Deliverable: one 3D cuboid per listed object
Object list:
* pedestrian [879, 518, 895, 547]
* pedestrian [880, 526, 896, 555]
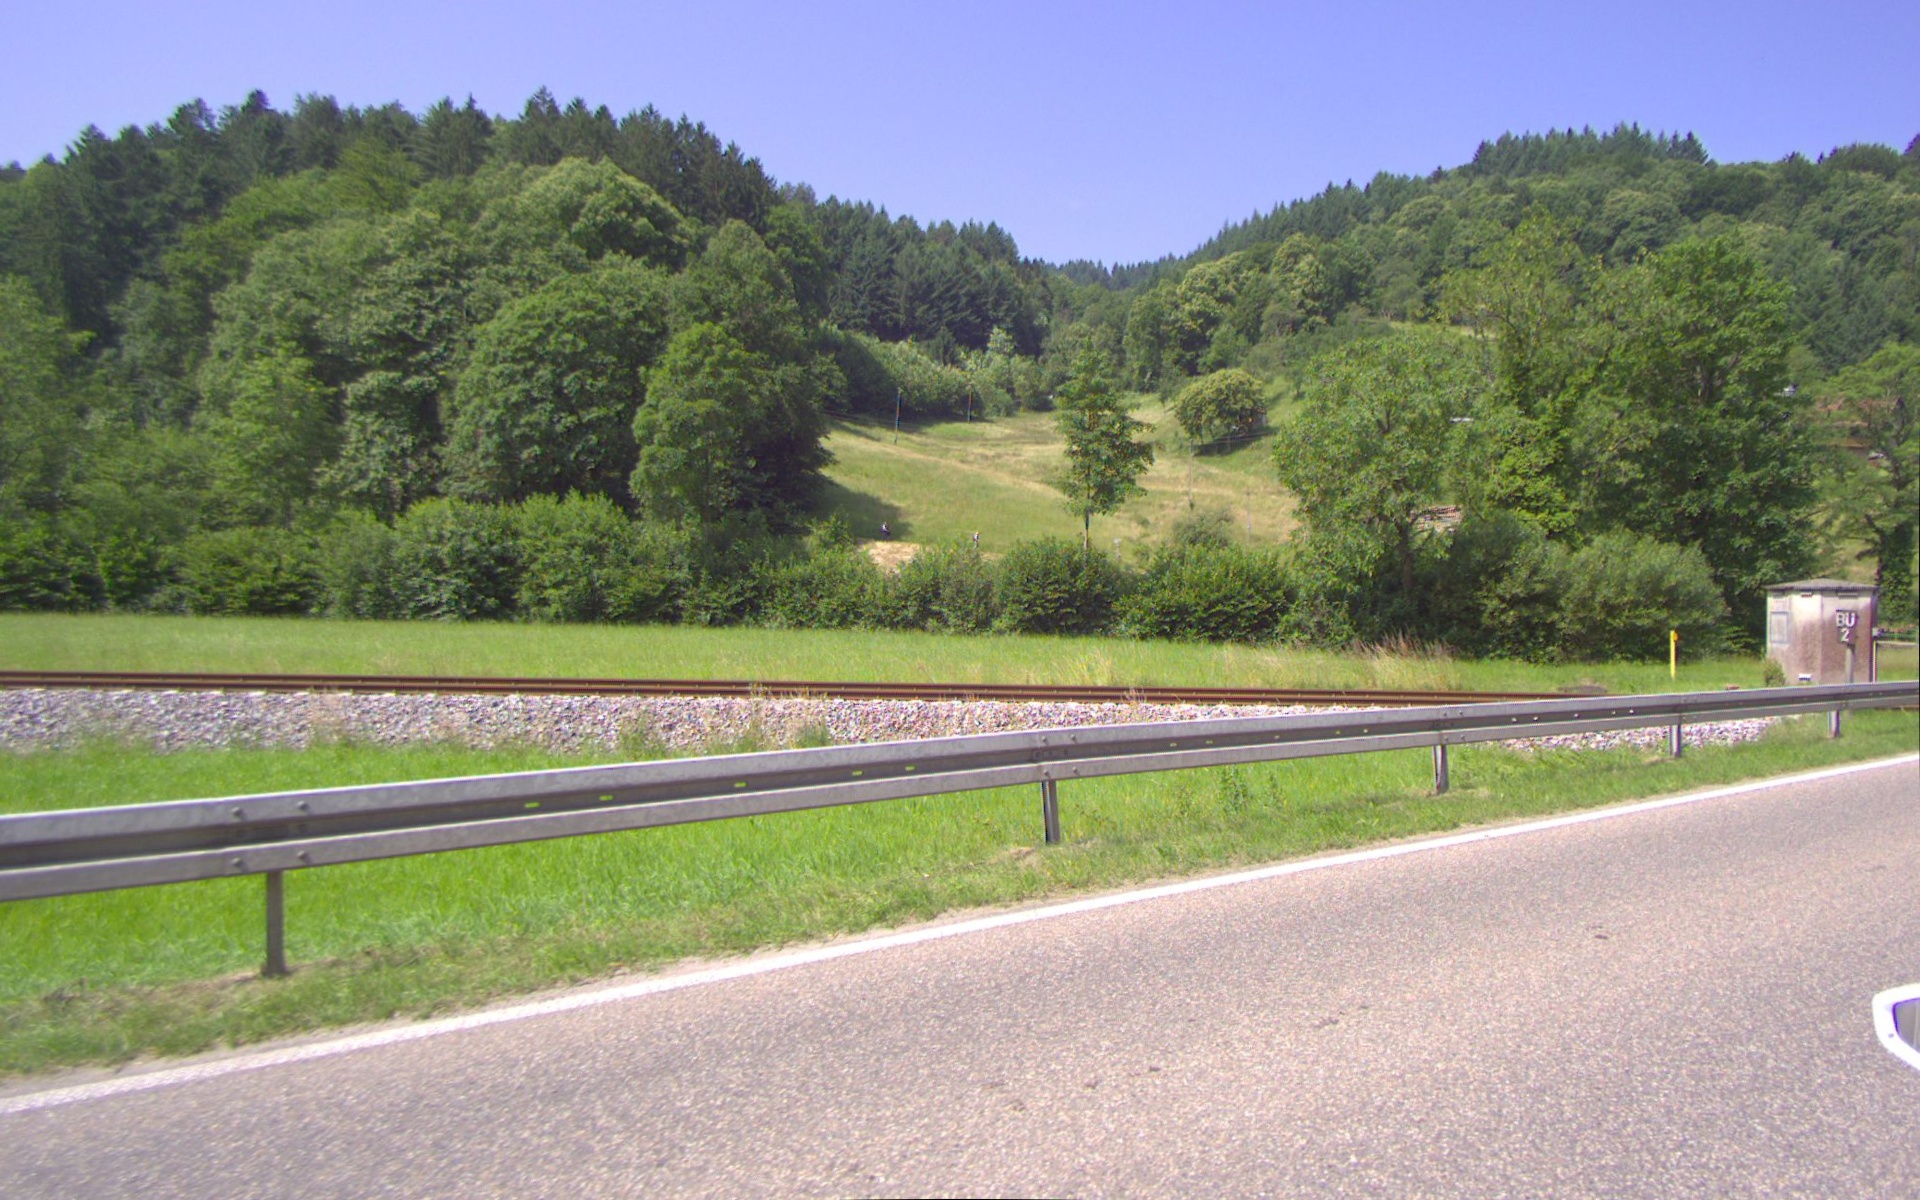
[{"bbox_3d":[-6.393,-5.856,87.738,1.061,2.398,1.074,1,-1,-31],"label":"pedestrian"},{"bbox_3d":[-6.389,-5.277,89.132,1.061,2.398,1.074,1,0,-31],"label":"pedestrian"}]
